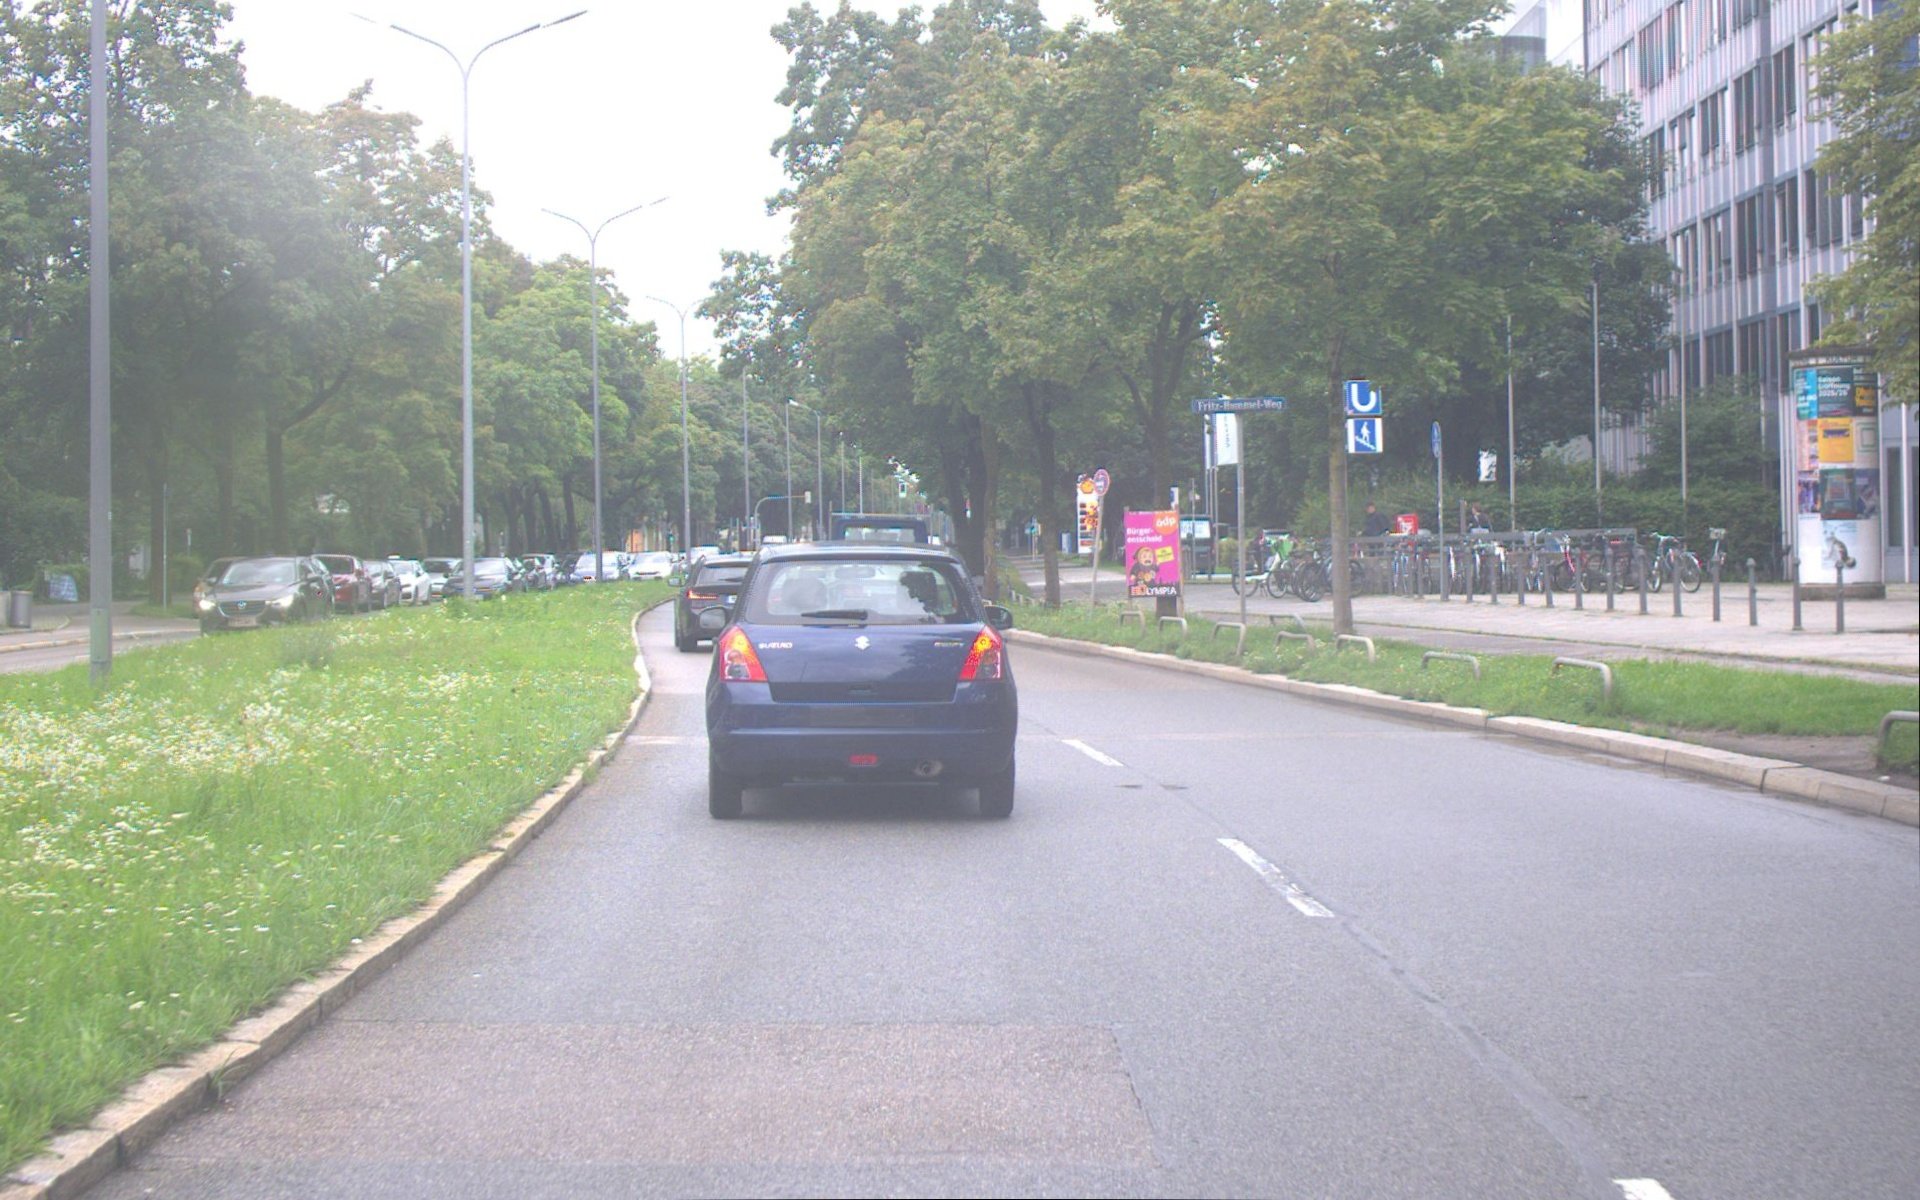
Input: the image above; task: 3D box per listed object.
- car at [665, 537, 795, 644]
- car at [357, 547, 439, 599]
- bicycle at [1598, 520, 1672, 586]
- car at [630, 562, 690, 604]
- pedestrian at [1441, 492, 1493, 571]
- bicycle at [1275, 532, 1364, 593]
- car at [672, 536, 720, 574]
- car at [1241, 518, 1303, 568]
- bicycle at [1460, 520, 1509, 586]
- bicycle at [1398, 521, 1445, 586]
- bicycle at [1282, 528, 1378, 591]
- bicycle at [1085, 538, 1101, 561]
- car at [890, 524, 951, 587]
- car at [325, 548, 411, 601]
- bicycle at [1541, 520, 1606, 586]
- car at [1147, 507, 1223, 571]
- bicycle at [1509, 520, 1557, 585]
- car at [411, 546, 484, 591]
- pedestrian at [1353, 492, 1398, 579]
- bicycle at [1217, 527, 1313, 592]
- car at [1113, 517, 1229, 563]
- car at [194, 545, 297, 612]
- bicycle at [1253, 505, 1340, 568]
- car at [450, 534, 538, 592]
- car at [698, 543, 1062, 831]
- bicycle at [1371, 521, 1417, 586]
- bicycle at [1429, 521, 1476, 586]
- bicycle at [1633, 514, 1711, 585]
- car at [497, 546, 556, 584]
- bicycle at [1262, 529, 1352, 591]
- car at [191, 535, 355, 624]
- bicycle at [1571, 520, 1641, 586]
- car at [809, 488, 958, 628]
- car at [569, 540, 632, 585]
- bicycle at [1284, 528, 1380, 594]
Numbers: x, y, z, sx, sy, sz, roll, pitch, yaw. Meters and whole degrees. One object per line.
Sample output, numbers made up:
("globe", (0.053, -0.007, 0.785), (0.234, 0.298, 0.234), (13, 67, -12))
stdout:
("car", (-3.473, -0.165, 51.450), (1.799, 1.494, 3.661), (-2, 1, -5))
("car", (-17.362, -0.860, 106.445), (1.739, 1.524, 4.475), (1, 1, 1))
("bicycle", (12.521, -0.881, 63.813), (0.577, 1.185, 2.142), (-2, 1, -10))
("car", (-11.579, -0.665, 132.997), (1.915, 1.479, 4.865), (-2, 1, -1))
("pedestrian", (11.069, -1.490, 75.010), (0.748, 1.708, 0.785), (-2, 1, -40))
("bicycle", (7.181, -0.756, 68.614), (1.949, 1.079, 0.597), (-6, 4, -44))
("car", (-11.907, -2.049, 155.339), (1.766, 1.619, 4.376), (-2, 1, 1))
("car", (11.885, -2.174, 131.149), (1.842, 1.812, 4.472), (-2, 1, -1))
("bicycle", (9.760, -0.883, 64.043), (0.487, 1.185, 1.954), (-1, 1, -3))
("bicycle", (8.575, -0.866, 63.948), (0.487, 1.185, 1.954), (-1, 1, -3))
("bicycle", (7.143, -0.786, 66.320), (2.035, 1.085, 0.604), (-4, 0, -44))
("bicycle", (6.845, -2.616, 177.196), (0.748, 1.179, 2.247), (-1, 1, 0))
("car", (-1.381, -1.621, 123.599), (1.987, 2.150, 5.555), (-2, 1, 1))
("car", (-17.462, -0.759, 101.570), (1.739, 1.477, 4.334), (1, 1, 1))
("bicycle", (11.325, -0.875, 63.552), (0.445, 1.185, 2.142), (-2, 1, -10))
("car", (8.506, -2.329, 130.614), (2.264, 2.299, 6.269), (-2, 1, -1))
("bicycle", (10.627, -0.890, 63.788), (0.445, 1.185, 1.954), (-1, 1, -3))
("car", (-17.334, -1.091, 116.430), (1.736, 1.443, 4.823), (1, 1, 0))
("pedestrian", (9.124, -1.410, 75.490), (0.651, 1.893, 0.749), (-2, 1, -23))
("bicycle", (6.263, -0.828, 70.539), (1.948, 1.185, 0.597), (-5, 3, -33))
("car", (10.211, -2.910, 166.774), (5.470, 2.076, 2.147), (-1, 1, 0))
("car", (-17.666, -0.548, 85.120), (1.647, 1.608, 3.819), (0, 1, 2))
("bicycle", (6.821, -1.288, 69.609), (1.949, 1.104, 0.580), (-7, 5, -44))
("car", (-11.940, -0.960, 88.282), (1.782, 1.401, 4.102), (-2, 1, -1))
("car", (-0.492, 0.424, 19.739), (1.896, 1.494, 3.660), (0, 1, -2))
("bicycle", (8.056, -0.871, 63.908), (0.487, 1.185, 1.954), (-1, 1, -3))
("bicycle", (9.157, -0.875, 63.964), (0.487, 1.185, 1.954), (-1, 1, -3))
("bicycle", (13.256, -0.947, 64.068), (0.508, 1.290, 2.479), (-2, 1, -10))
("car", (-17.025, -1.383, 135.187), (1.625, 1.418, 4.192), (2, 1, 1))
("bicycle", (6.772, -0.786, 67.033), (1.949, 1.062, 0.580), (-6, 2, -44))
("car", (-12.195, -0.392, 61.283), (1.957, 1.475, 4.259), (-2, 1, 1))
("bicycle", (11.896, -0.867, 63.385), (0.511, 1.185, 2.142), (-2, 1, -10))
("car", (-1.336, -0.778, 62.666), (2.419, 2.436, 5.086), (0, 1, 2))
("car", (-11.932, -1.257, 114.238), (1.691, 1.397, 3.968), (-2, 1, -1))
("bicycle", (7.015, -0.737, 64.768), (2.027, 1.095, 0.580), (-5, 1, -45))
